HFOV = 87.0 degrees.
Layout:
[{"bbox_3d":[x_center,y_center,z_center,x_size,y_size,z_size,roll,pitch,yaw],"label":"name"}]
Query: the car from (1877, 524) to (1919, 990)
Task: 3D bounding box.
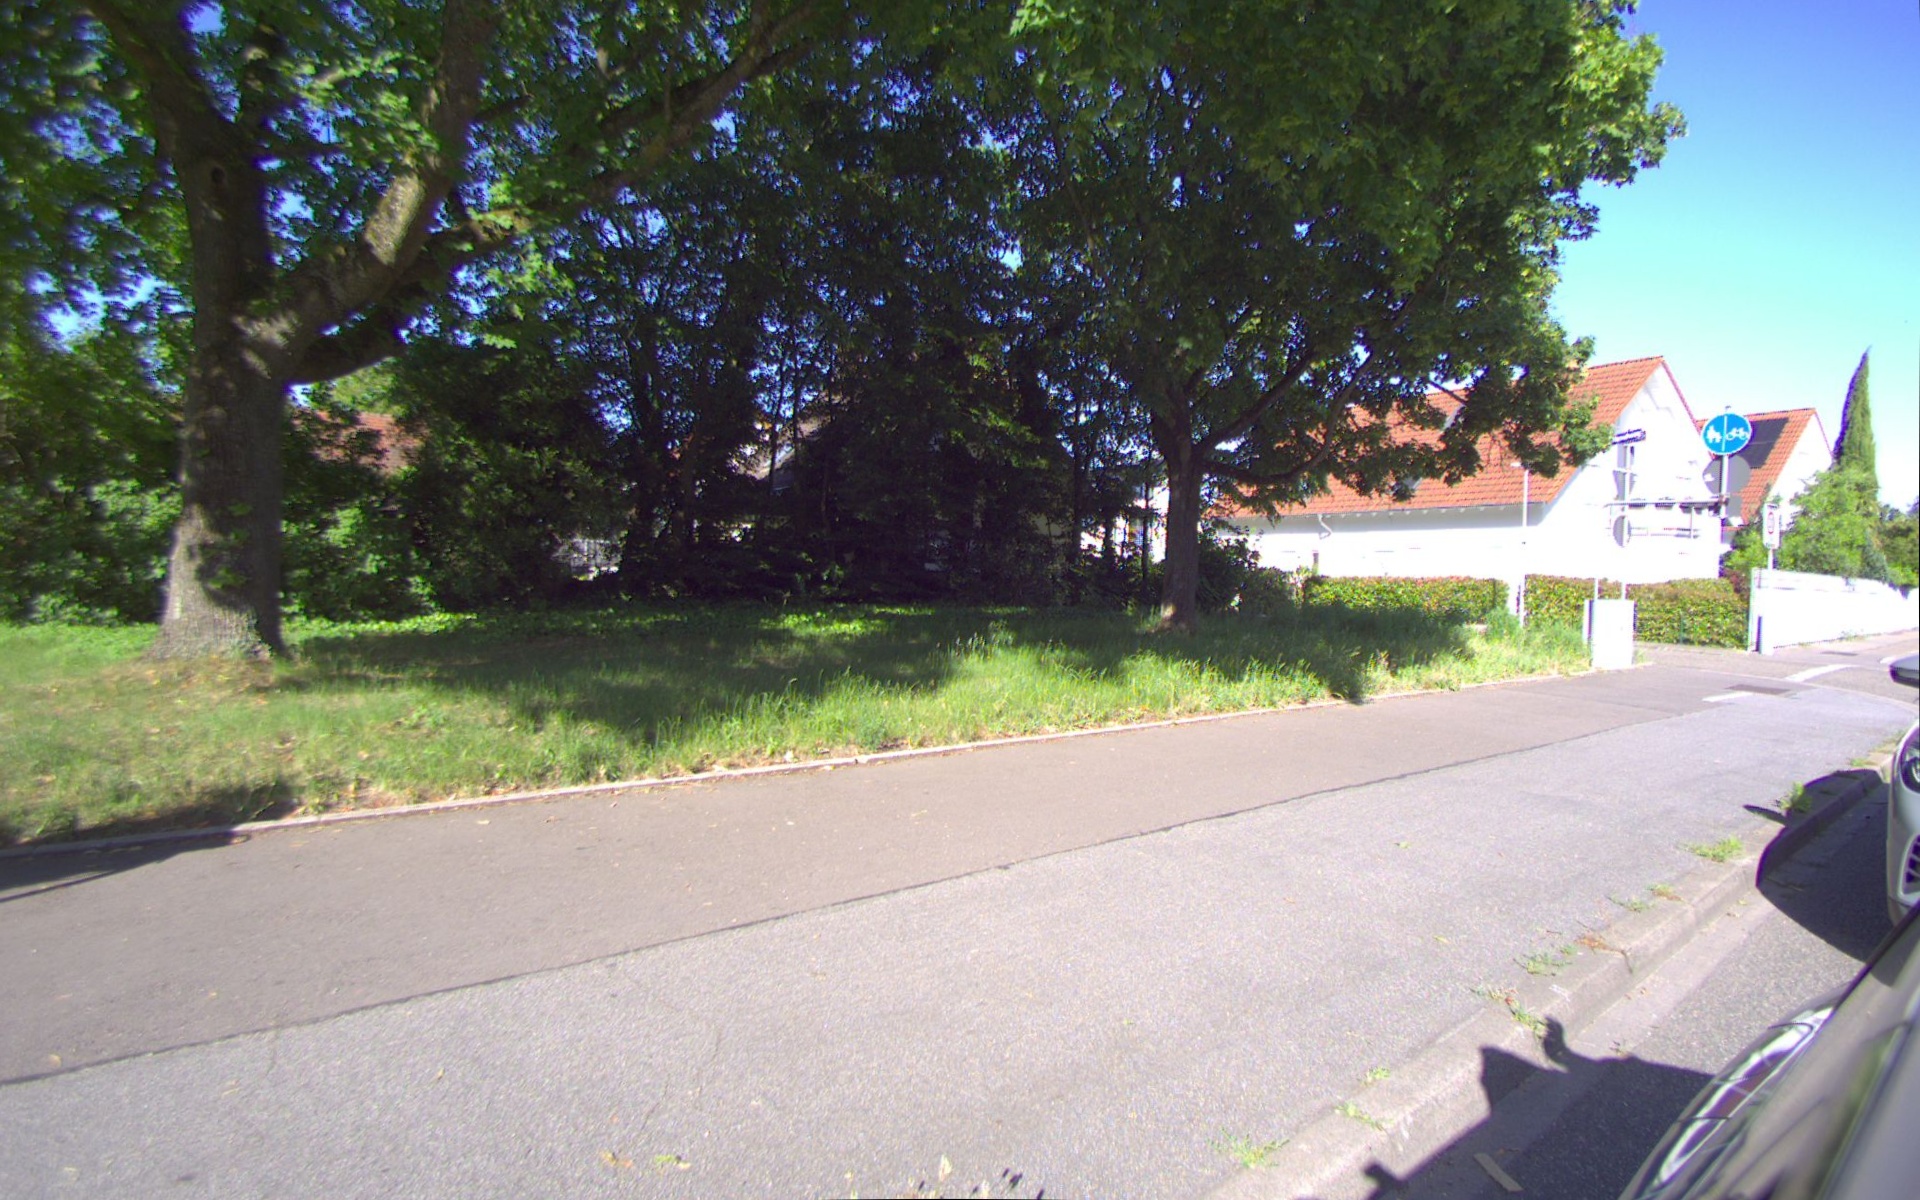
[{"bbox_3d":[5.630,0.598,4.436,4.133,1.710,1.857,0,3,-41],"label":"car"}]
